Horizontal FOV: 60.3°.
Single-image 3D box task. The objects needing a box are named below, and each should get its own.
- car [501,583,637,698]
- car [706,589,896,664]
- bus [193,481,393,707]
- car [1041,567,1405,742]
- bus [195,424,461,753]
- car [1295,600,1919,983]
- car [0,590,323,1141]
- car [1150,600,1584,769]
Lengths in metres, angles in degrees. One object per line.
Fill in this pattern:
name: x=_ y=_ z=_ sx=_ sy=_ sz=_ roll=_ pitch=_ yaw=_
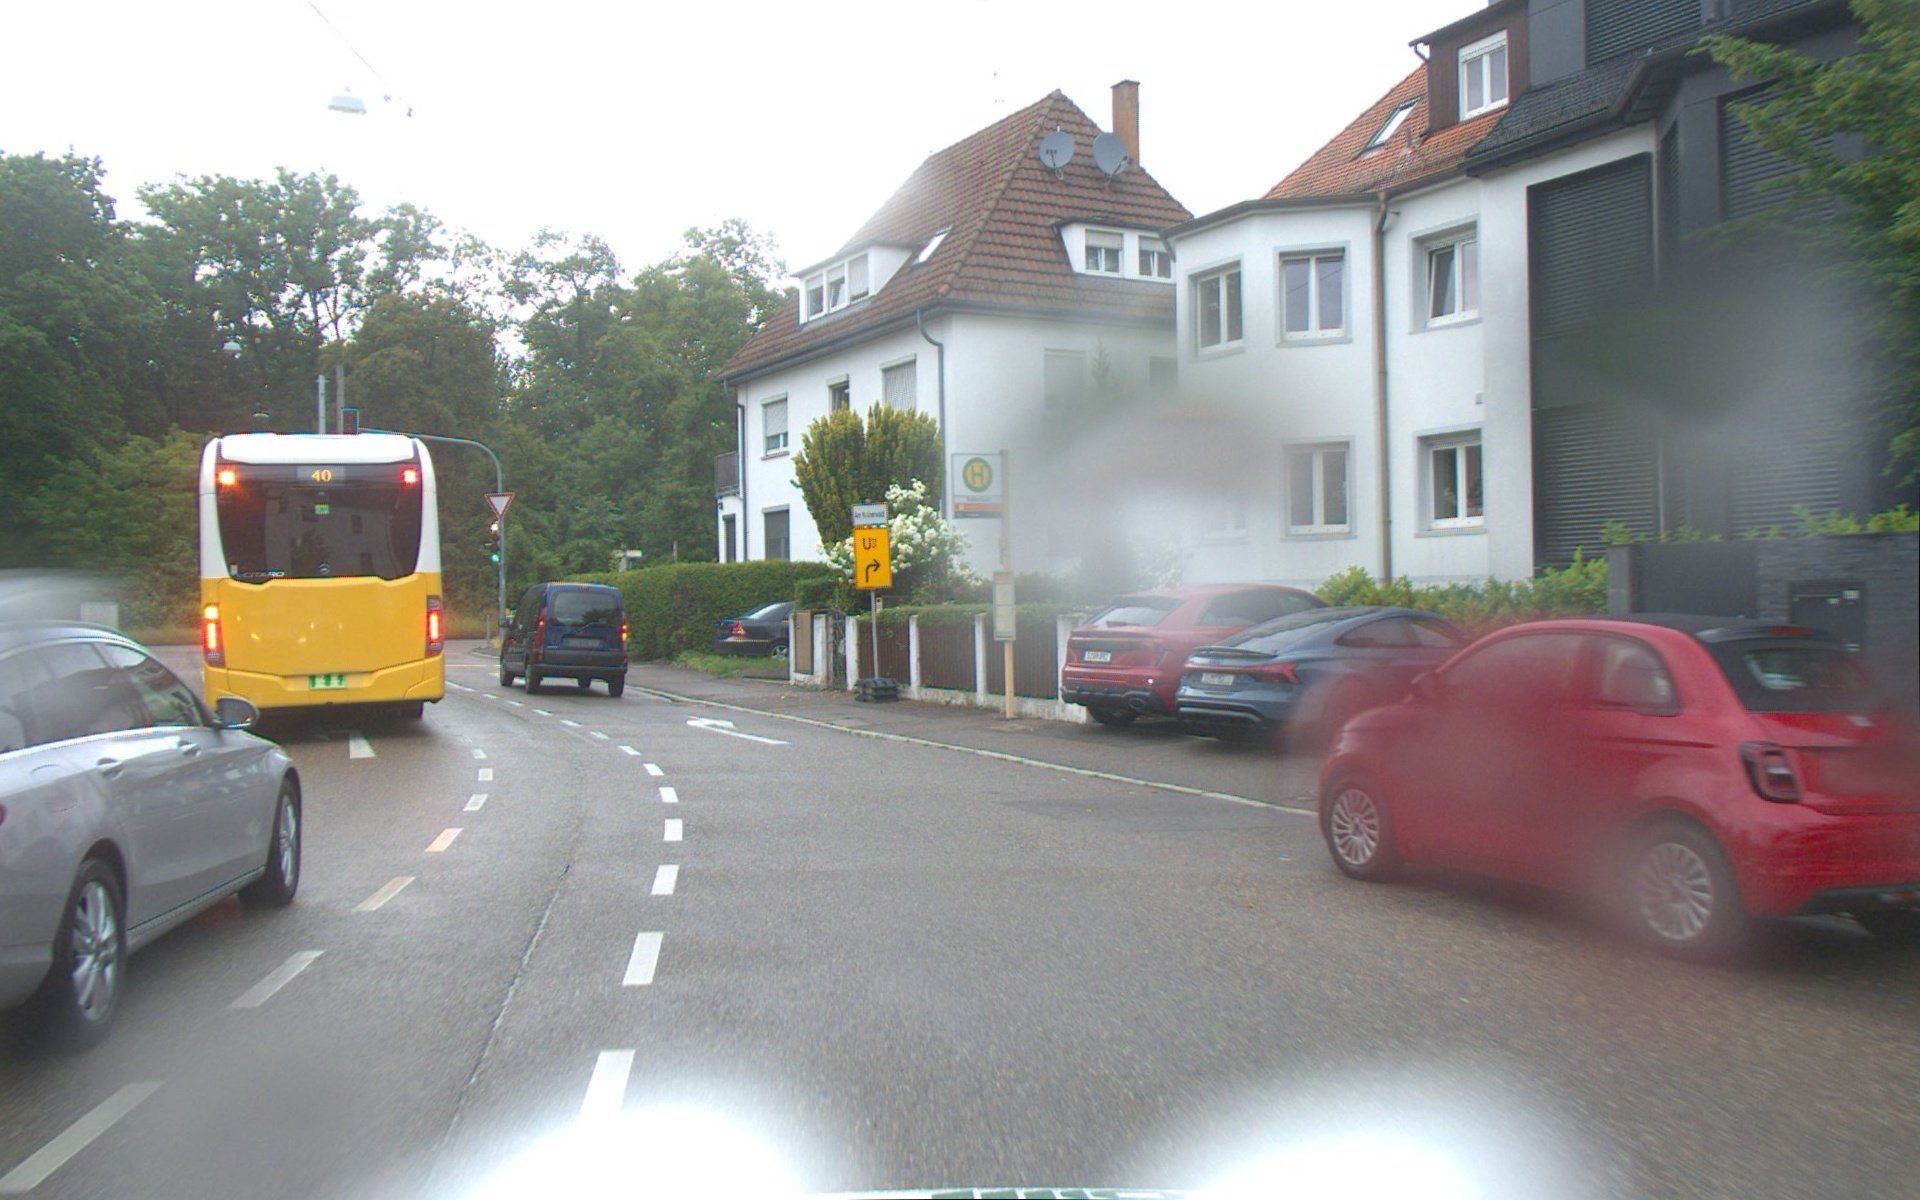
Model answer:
car: x=-6.872 y=0.678 z=28.818 sx=1.783 sy=1.829 sz=3.974 roll=-1 pitch=-1 yaw=-21
car: x=-3.345 y=0.531 z=34.940 sx=3.700 sy=1.412 sz=1.602 roll=-1 pitch=2 yaw=-28
bus: x=-12.143 y=-0.127 z=30.027 sx=2.861 sy=3.457 sz=8.976 roll=-1 pitch=1 yaw=-23
car: x=3.165 y=0.555 z=19.647 sx=4.039 sy=1.781 sz=1.976 roll=-2 pitch=1 yaw=-35
bus: x=-8.493 y=-0.161 z=21.892 sx=2.641 sy=3.457 sz=8.618 roll=-1 pitch=1 yaw=-23
car: x=3.470 y=0.799 z=8.780 sx=1.590 sy=1.564 sz=3.514 roll=1 pitch=0 yaw=-24
car: x=-4.054 y=0.757 z=6.606 sx=1.957 sy=1.505 sz=4.475 roll=-1 pitch=1 yaw=-10
car: x=4.417 y=0.797 z=17.746 sx=4.505 sy=1.441 sz=1.978 roll=-2 pitch=1 yaw=-33
